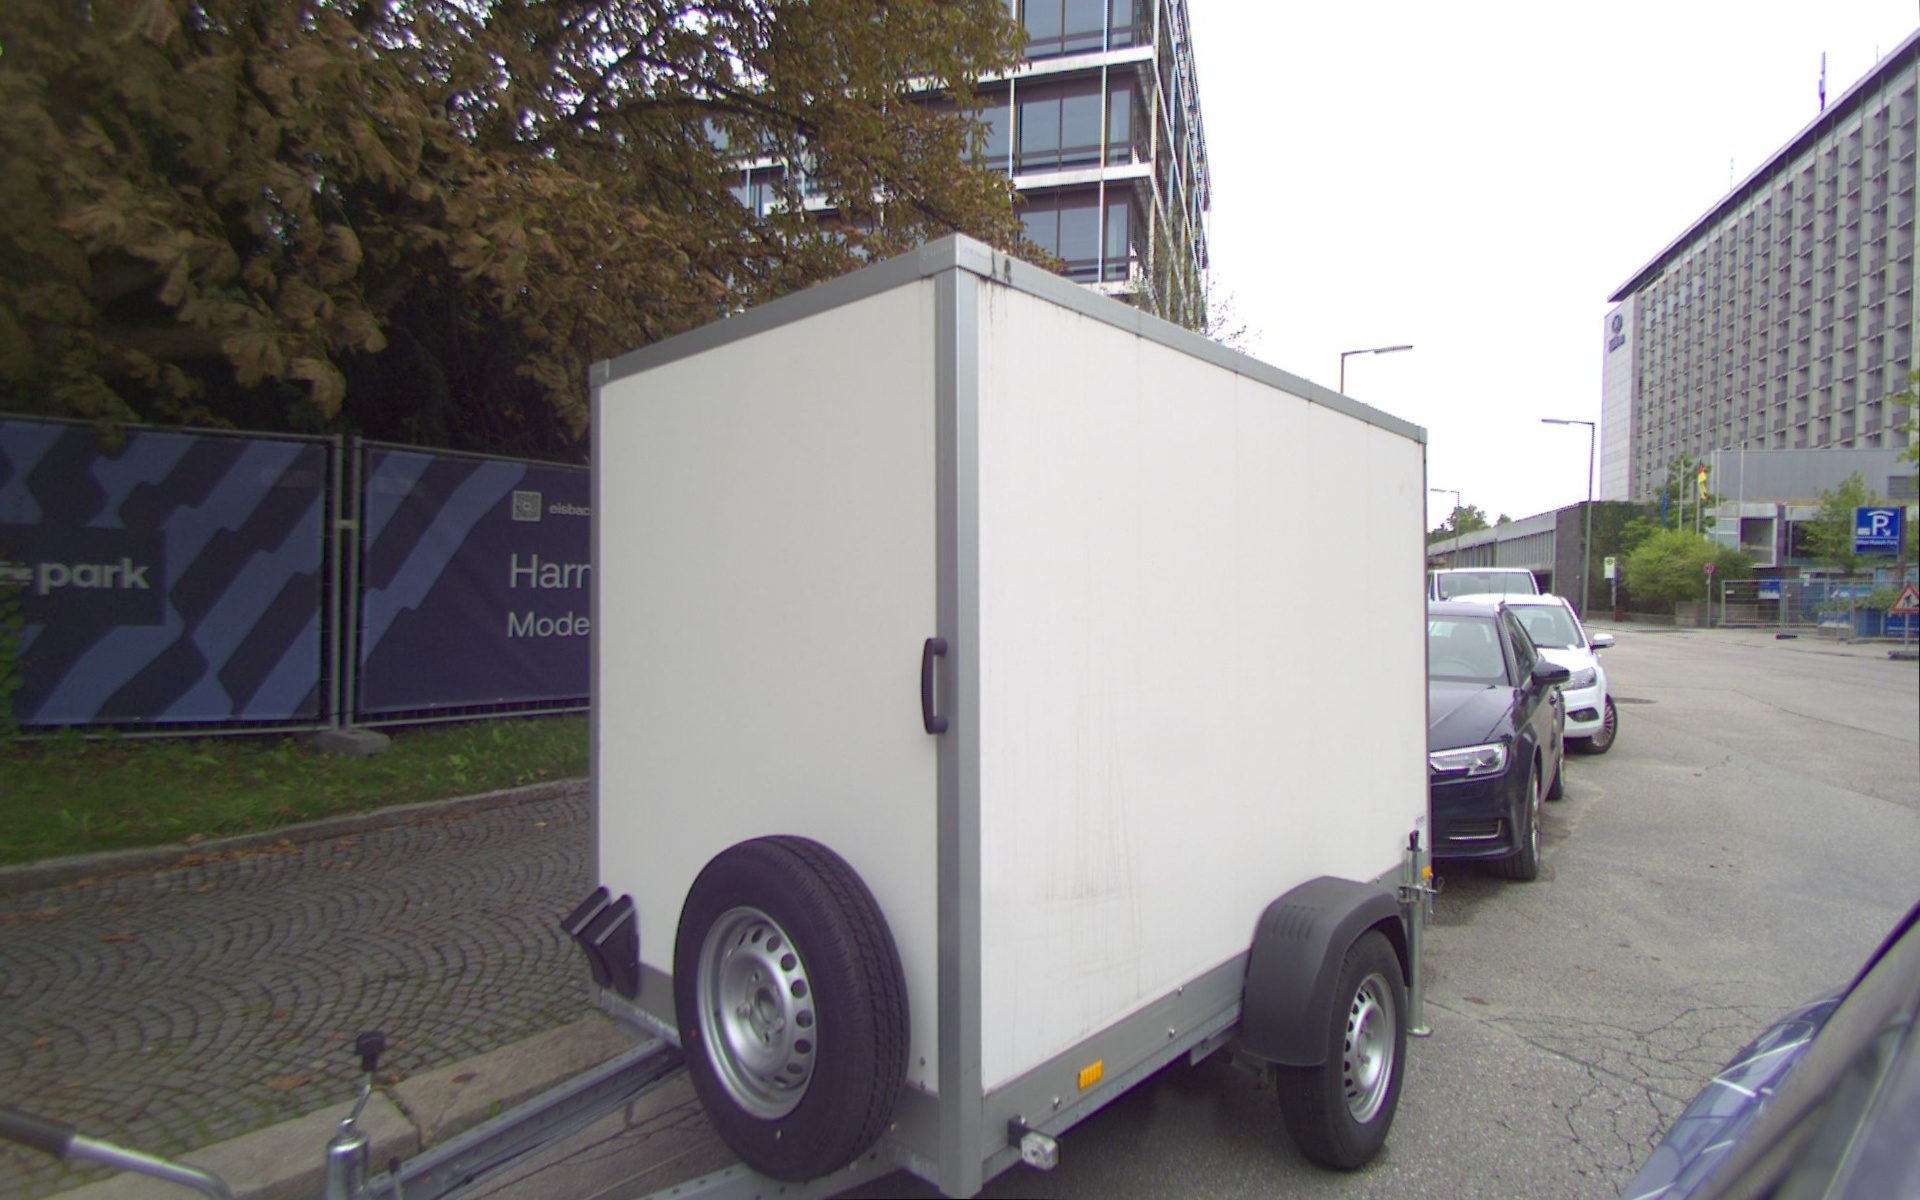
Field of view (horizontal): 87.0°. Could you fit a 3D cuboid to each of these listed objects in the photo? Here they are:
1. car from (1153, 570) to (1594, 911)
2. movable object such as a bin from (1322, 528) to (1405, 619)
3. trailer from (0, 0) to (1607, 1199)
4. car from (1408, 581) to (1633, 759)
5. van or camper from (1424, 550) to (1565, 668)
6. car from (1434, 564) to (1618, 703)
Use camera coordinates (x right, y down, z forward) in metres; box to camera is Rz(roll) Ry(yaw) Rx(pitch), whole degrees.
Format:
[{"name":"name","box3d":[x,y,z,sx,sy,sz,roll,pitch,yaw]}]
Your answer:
[{"name":"car","box3d":[3.034,0.598,6.773,1.866,1.455,4.275,3,2,34]},{"name":"movable object such as a bin","box3d":[18.848,-1.234,46.996,3.216,3.762,8.936,1,2,24]},{"name":"trailer","box3d":[-0.098,0.185,2.440,1.810,2.038,4.756,2,2,45]},{"name":"car","box3d":[6.062,0.569,10.989,1.757,1.504,4.176,2,1,30]},{"name":"van or camper","box3d":[10.637,0.085,20.525,1.977,2.038,5.336,1,2,22]},{"name":"car","box3d":[8.325,0.371,15.284,1.979,1.749,4.414,1,2,24]}]
